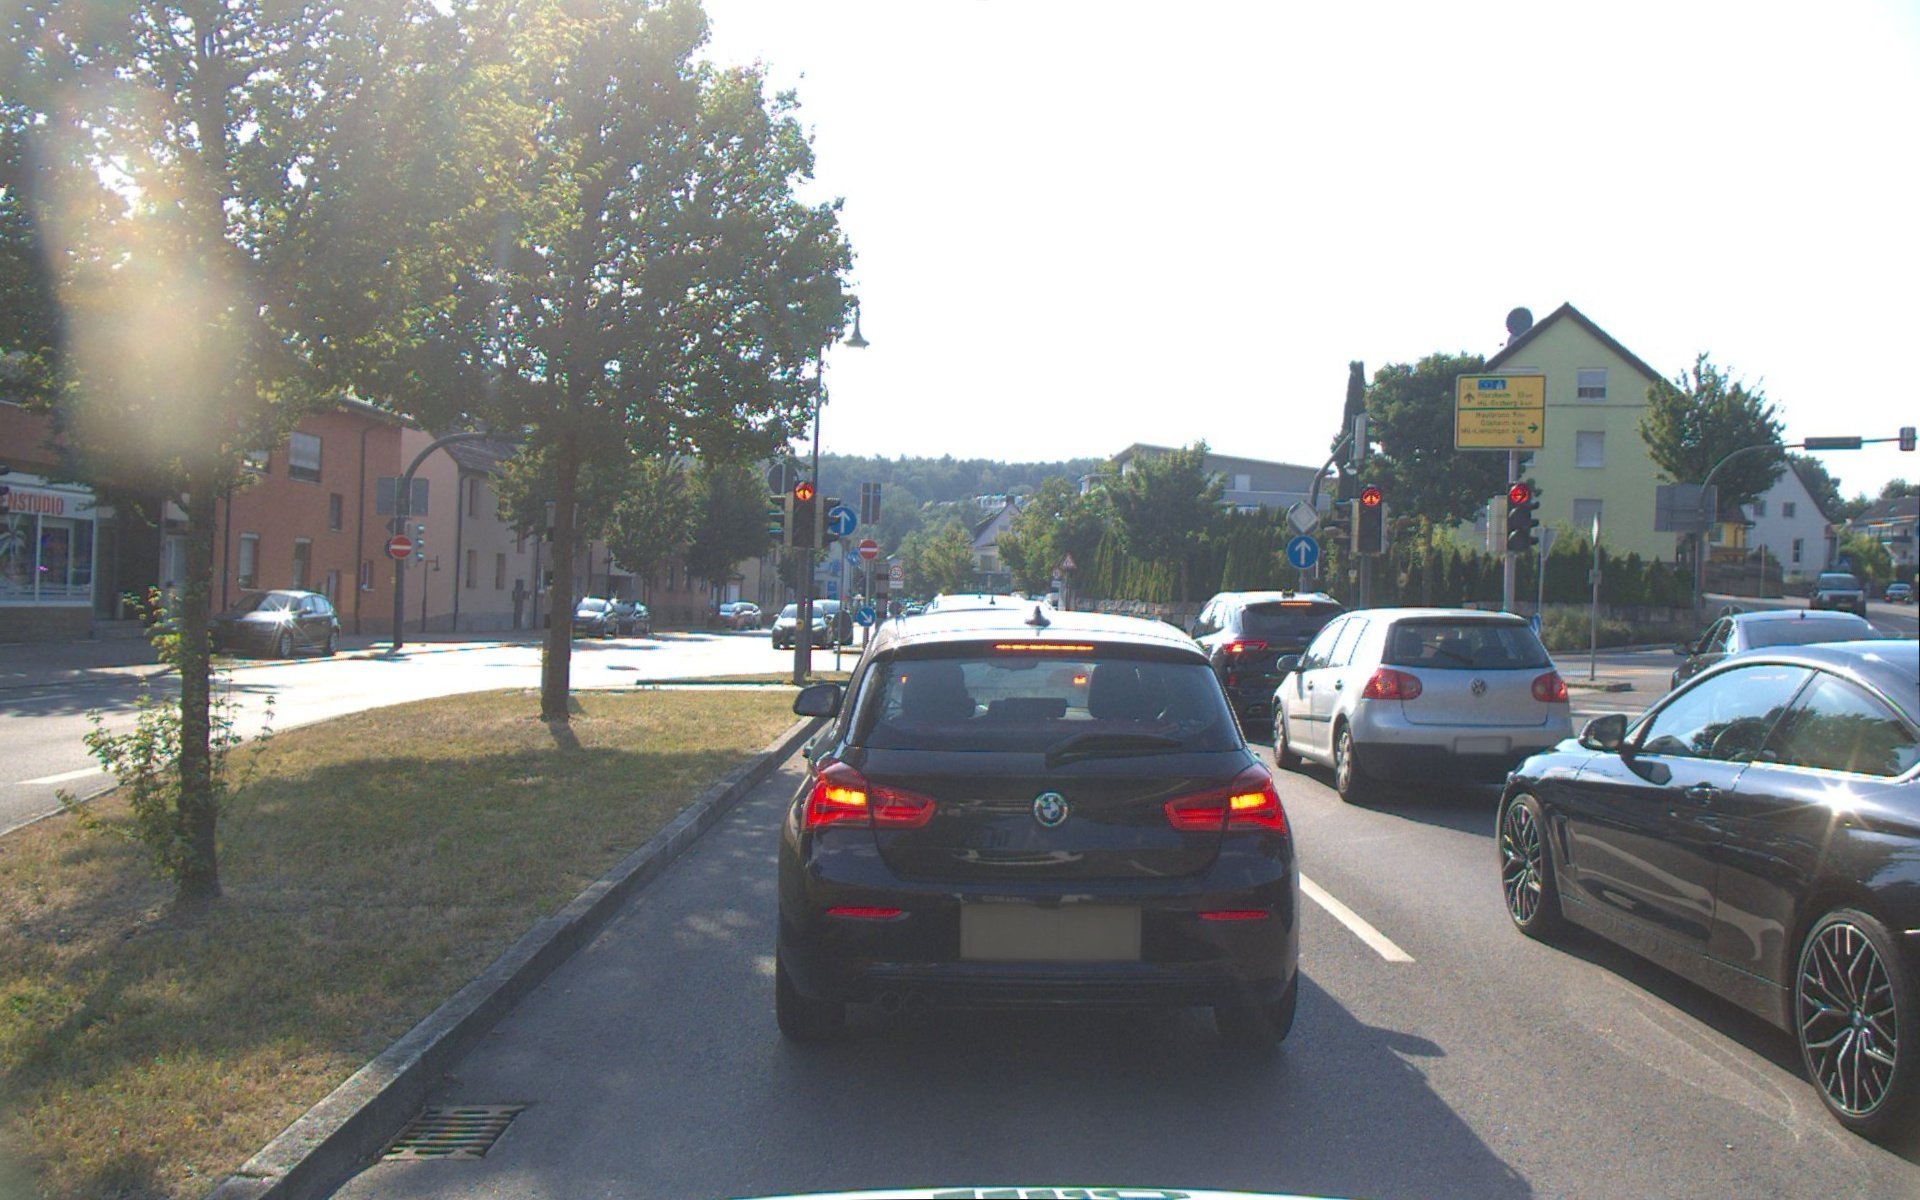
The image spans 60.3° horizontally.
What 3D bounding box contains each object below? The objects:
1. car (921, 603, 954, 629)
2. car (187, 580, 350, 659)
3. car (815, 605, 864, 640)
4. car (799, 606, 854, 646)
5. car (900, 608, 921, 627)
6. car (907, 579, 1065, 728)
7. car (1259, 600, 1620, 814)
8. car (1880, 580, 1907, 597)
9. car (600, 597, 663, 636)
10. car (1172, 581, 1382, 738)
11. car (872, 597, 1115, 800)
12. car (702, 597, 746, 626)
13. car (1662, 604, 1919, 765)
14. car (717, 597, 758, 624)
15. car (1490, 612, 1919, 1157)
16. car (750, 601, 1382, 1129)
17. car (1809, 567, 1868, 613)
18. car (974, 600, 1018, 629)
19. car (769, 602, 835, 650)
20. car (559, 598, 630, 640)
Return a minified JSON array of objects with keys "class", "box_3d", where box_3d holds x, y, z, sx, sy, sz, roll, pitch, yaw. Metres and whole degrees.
[{"class":"car","box_3d":[-1.531,1.049,113.312,1.854,1.732,4.518,0,0,-6]},{"class":"car","box_3d":[-15.483,0.404,37.252,1.805,1.579,4.001,3,0,2]},{"class":"car","box_3d":[-5.005,0.928,69.160,1.658,1.377,4.000,1,0,1]},{"class":"car","box_3d":[-4.982,0.946,62.000,1.658,1.377,4.000,1,0,1]},{"class":"car","box_3d":[-4.485,1.553,150.141,1.885,1.624,3.999,1,0,-1]},{"class":"car","box_3d":[0.329,0.603,20.981,1.779,1.670,4.242,1,0,1]},{"class":"car","box_3d":[3.756,0.749,13.771,1.779,1.471,4.347,1,0,1]},{"class":"car","box_3d":[71.697,-0.915,127.036,1.678,1.266,3.995,1,1,28]},{"class":"car","box_3d":[-14.388,0.698,72.629,1.884,1.624,4.000,1,0,1]},{"class":"car","box_3d":[3.761,0.650,20.348,1.779,1.695,4.347,1,0,1]},{"class":"car","box_3d":[0.279,0.723,14.355,1.779,1.476,4.242,1,0,1]},{"class":"car","box_3d":[-13.821,0.638,97.104,1.884,1.624,4.000,1,0,1]},{"class":"car","box_3d":[8.747,0.791,17.698,1.645,1.460,4.593,1,0,15]},{"class":"car","box_3d":[-13.775,0.626,102.610,1.884,1.624,4.000,1,0,1]},{"class":"car","box_3d":[3.467,0.781,5.923,1.779,1.413,4.347,1,0,1]},{"class":"car","box_3d":[0.326,0.744,6.813,1.754,1.439,4.347,1,0,1]},{"class":"car","box_3d":[34.106,-0.422,64.286,1.750,1.533,4.068,1,4,25]},{"class":"car","box_3d":[2.005,0.783,92.840,1.826,1.511,4.652,1,0,-6]},{"class":"car","box_3d":[-5.186,0.821,54.752,1.730,1.484,4.000,1,0,1]},{"class":"car","box_3d":[-14.730,0.729,66.816,1.884,1.624,4.000,1,0,1]}]
